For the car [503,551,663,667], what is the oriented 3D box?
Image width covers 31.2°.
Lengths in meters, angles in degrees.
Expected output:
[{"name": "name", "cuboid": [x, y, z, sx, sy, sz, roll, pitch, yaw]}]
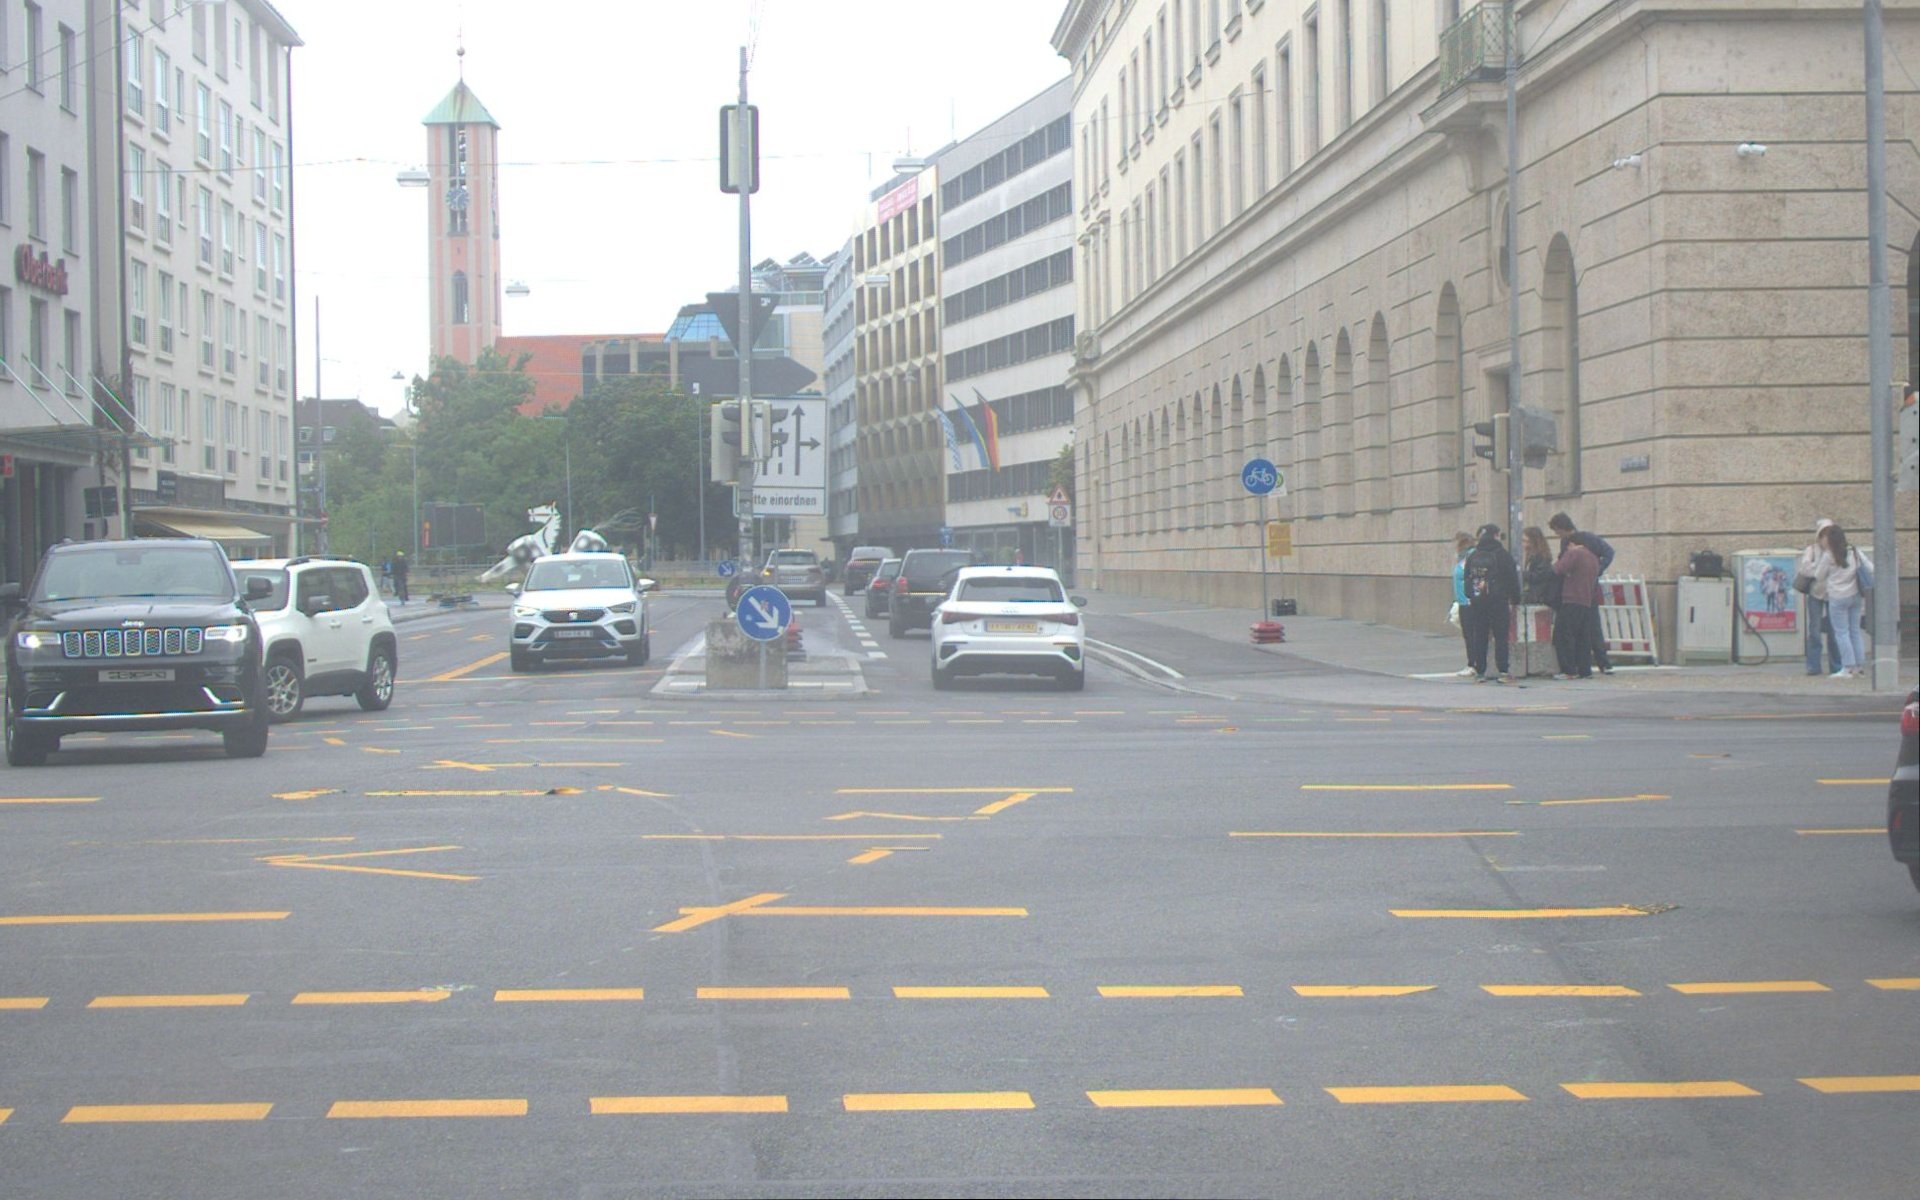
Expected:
[{"name": "car", "cuboid": [-5.230, 0.089, 48.125, 1.993, 1.519, 4.233, -1, 1, -3]}]

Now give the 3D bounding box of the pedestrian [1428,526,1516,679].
[{"name": "pedestrian", "cuboid": [5.946, 0.021, 39.957, 0.817, 1.749, 0.585, 0, 1, -33]}]

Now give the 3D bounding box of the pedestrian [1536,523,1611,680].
[{"name": "pedestrian", "cuboid": [6.926, 0.008, 38.791, 0.584, 1.749, 0.818, 1, 1, 28]}]

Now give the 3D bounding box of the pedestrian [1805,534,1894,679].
[{"name": "pedestrian", "cuboid": [9.637, 0.062, 37.277, 0.817, 1.552, 0.667, 0, 1, 5]}]

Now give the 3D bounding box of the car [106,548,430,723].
[{"name": "car", "cuboid": [-7.101, 0.324, 35.732, 1.794, 1.672, 4.231, -1, 1, 11]}]

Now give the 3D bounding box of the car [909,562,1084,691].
[{"name": "car", "cuboid": [0.385, 0.276, 41.333, 1.813, 1.420, 4.453, 1, 1, -3]}]

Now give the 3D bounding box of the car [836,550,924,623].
[{"name": "car", "cuboid": [-1.854, -0.333, 78.671, 1.865, 1.596, 3.851, -1, 1, -3]}]

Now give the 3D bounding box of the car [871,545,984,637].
[{"name": "car", "cuboid": [-0.621, -0.192, 62.397, 1.865, 1.596, 3.851, -1, 1, -3]}]

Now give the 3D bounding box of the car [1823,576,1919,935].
[{"name": "car", "cuboid": [5.483, 0.592, 14.359, 1.868, 1.383, 3.989, 1, 1, 45]}]

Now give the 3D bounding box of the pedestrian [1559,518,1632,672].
[{"name": "pedestrian", "cuboid": [7.322, -0.059, 39.580, 0.584, 1.749, 0.818, 1, 1, 28]}]

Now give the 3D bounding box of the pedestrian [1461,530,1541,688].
[{"name": "pedestrian", "cuboid": [6.040, 0.093, 38.387, 0.818, 1.749, 0.679, 1, 1, 14]}]

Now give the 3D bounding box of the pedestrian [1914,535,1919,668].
[{"name": "pedestrian", "cuboid": [11.338, 0.027, 39.195, 0.665, 1.522, 0.820, 0, 1, 0]}]

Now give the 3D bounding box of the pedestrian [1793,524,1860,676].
[{"name": "pedestrian", "cuboid": [9.565, -0.008, 37.959, 0.616, 1.666, 0.542, 0, 1, 5]}]

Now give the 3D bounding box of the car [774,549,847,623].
[{"name": "car", "cuboid": [-4.276, -0.421, 97.782, 1.993, 2.007, 4.001, -1, 1, -3]}]

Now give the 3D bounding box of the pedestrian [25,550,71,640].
[{"name": "pedestrian", "cuboid": [-18.076, -0.098, 68.133, 0.736, 1.766, 0.736, 0, 1, -3]}]

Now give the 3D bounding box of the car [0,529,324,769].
[{"name": "car", "cuboid": [-6.346, 0.325, 27.529, 1.994, 1.728, 4.586, -1, 1, -5]}]

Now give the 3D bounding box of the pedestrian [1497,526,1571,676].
[{"name": "pedestrian", "cuboid": [6.753, 0.006, 40.442, 0.817, 1.749, 0.585, 1, 1, 12]}]
